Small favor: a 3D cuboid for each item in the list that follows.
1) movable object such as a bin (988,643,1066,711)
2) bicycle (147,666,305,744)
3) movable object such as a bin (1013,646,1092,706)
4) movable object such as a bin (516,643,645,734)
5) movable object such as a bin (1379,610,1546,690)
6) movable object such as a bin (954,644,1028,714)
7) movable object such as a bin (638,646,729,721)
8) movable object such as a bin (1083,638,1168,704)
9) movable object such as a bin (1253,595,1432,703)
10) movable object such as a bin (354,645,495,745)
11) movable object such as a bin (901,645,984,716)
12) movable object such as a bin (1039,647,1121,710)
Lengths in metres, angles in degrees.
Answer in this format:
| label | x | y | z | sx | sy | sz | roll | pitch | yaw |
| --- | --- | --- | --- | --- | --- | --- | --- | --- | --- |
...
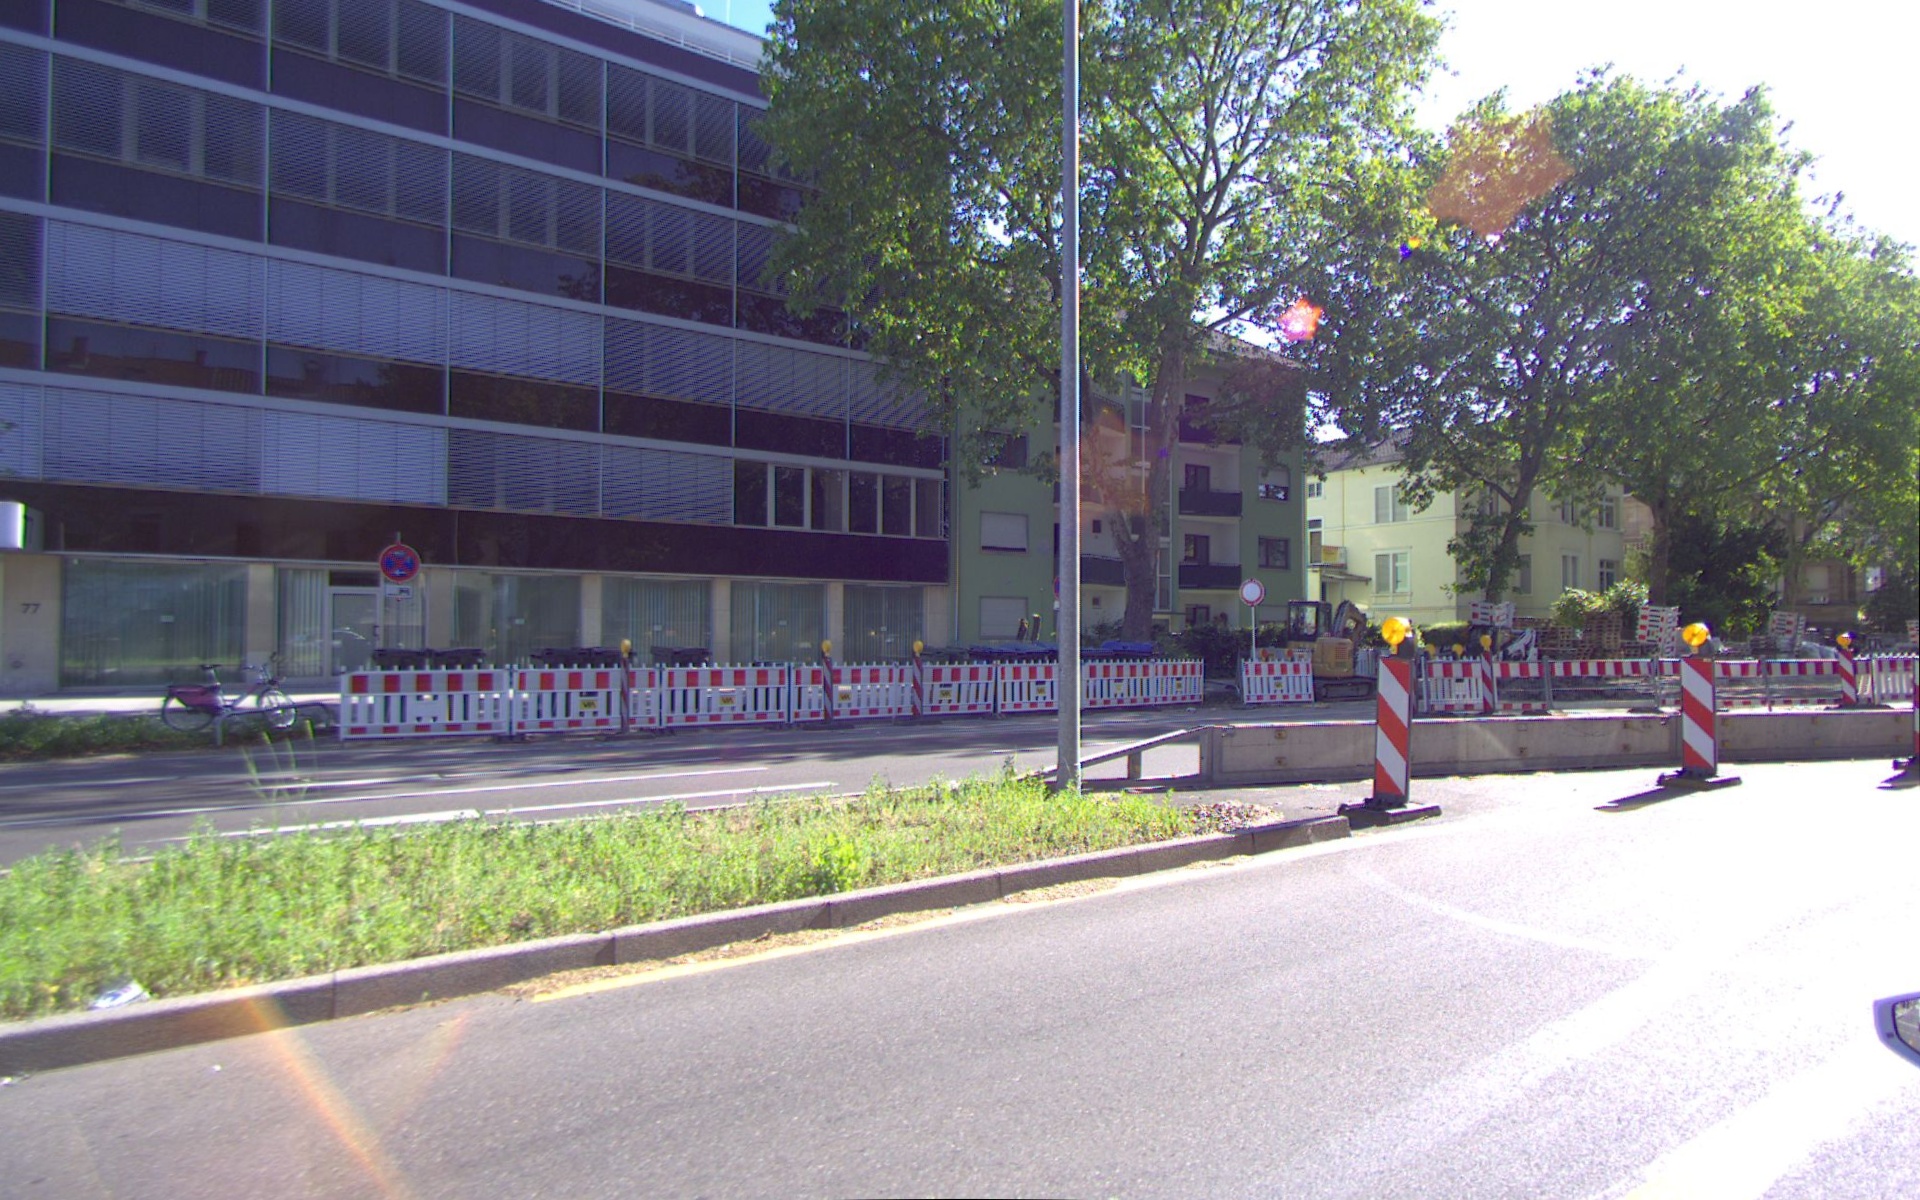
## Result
| label | x | y | z | sx | sy | sz | roll | pitch | yaw |
| --- | --- | --- | --- | --- | --- | --- | --- | --- | --- |
| movable object such as a bin | 1.414 | 1.611 | 21.412 | 1.056 | 1.355 | 1.403 | 1 | -2 | -31 |
| bicycle | -10.969 | 1.552 | 15.098 | 1.858 | 1.051 | 0.623 | 1 | -1 | -32 |
| movable object such as a bin | 2.089 | 1.694 | 22.766 | 1.524 | 1.287 | 0.974 | 1 | -1 | -33 |
| movable object such as a bin | -6.343 | 1.429 | 16.793 | 1.834 | 1.406 | 1.208 | 1 | -2 | -31 |
| movable object such as a bin | 15.725 | 1.562 | 31.364 | 5.534 | 2.308 | 1.984 | 2 | -3 | -31 |
| movable object such as a bin | 0.621 | 1.604 | 20.751 | 0.925 | 1.355 | 1.403 | 1 | -2 | -30 |
| movable object such as a bin | -4.889 | 1.444 | 17.710 | 1.226 | 1.219 | 1.388 | 1 | -1 | -30 |
| movable object such as a bin | 3.854 | 1.628 | 23.339 | 1.607 | 1.441 | 1.260 | 0 | -2 | 32 |
| movable object such as a bin | 10.684 | 1.317 | 27.898 | 5.303 | 2.742 | 2.132 | 2 | -2 | -36 |
| movable object such as a bin | -8.220 | 1.413 | 15.437 | 1.834 | 1.406 | 1.108 | 1 | -2 | -31 |
| movable object such as a bin | -0.376 | 1.597 | 20.320 | 1.143 | 1.355 | 1.403 | 1 | -2 | -31 |
| movable object such as a bin | 2.622 | 1.696 | 21.907 | 1.524 | 1.287 | 0.974 | 1 | -1 | -33 |
